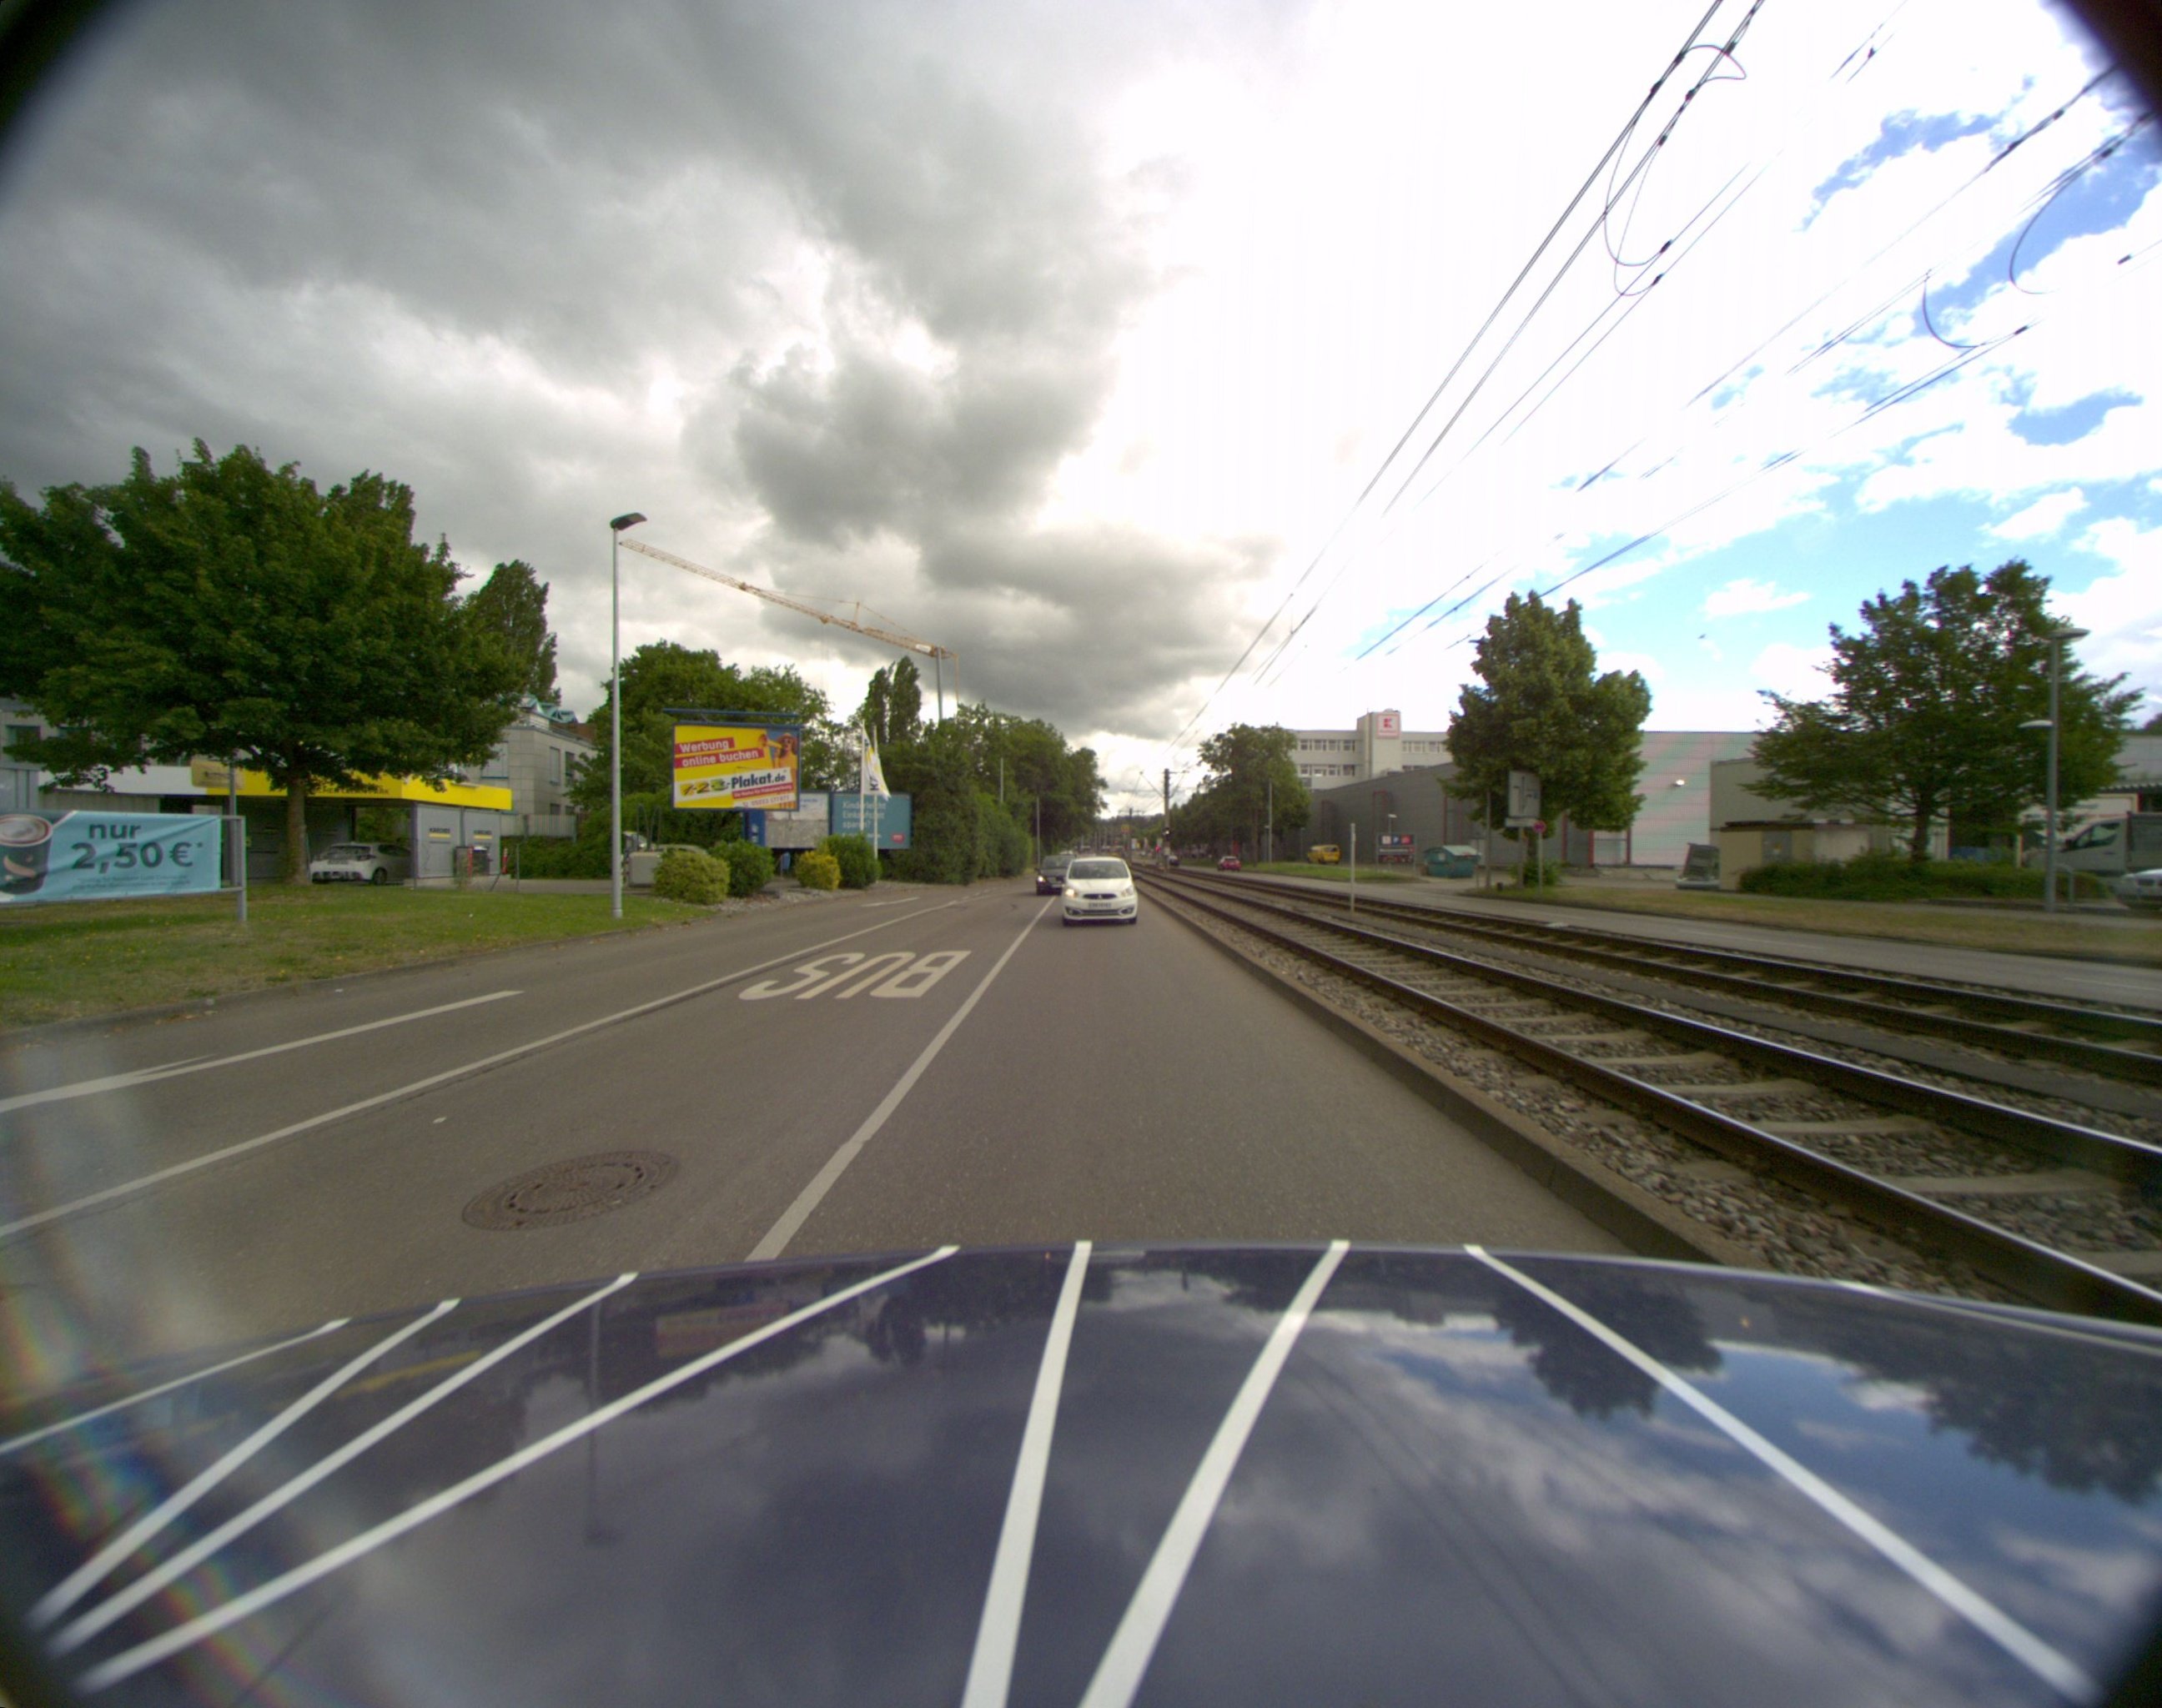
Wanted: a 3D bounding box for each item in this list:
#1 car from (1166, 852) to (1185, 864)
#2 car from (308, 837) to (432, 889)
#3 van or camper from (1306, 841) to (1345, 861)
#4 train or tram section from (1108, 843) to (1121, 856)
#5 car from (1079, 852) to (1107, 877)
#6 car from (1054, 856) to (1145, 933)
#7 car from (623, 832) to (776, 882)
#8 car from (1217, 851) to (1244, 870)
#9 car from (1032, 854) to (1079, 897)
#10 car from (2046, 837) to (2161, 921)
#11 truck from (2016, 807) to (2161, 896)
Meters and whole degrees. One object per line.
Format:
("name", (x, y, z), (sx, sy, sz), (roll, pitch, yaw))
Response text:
("car", (12.138, 0.536, 97.708), (1.763, 1.393, 4.443), (2, 0, 0))
("car", (-23.970, 0.289, 25.791), (1.633, 1.630, 3.525), (0, 0, -16))
("van or camper", (25.138, -0.312, 78.220), (2.109, 2.002, 5.241), (-1, 0, -3))
("train or tram section", (9.423, -1.231, 217.631), (2.778, 3.753, 13.784), (-1, 0, -1))
("car", (0.796, 0.647, 50.711), (1.693, 1.521, 4.000), (-2, 1, 1))
("car", (0.375, 0.811, 17.228), (1.765, 1.469, 4.030), (-2, 0, 0))
("car", (-13.257, 0.089, 26.761), (4.029, 1.646, 2.944), (0, 0, -6))
("car", (14.489, 0.603, 73.843), (1.797, 1.761, 3.999), (0, 0, -1))
("car", (-0.965, 0.815, 30.833), (1.714, 1.586, 4.000), (-1, 0, 1))
("car", (23.275, 0.494, 15.079), (4.793, 1.619, 2.652), (0, 0, 1))
("truck", (29.704, -0.051, 20.698), (1.998, 2.369, 5.264), (0, 0, 1))
